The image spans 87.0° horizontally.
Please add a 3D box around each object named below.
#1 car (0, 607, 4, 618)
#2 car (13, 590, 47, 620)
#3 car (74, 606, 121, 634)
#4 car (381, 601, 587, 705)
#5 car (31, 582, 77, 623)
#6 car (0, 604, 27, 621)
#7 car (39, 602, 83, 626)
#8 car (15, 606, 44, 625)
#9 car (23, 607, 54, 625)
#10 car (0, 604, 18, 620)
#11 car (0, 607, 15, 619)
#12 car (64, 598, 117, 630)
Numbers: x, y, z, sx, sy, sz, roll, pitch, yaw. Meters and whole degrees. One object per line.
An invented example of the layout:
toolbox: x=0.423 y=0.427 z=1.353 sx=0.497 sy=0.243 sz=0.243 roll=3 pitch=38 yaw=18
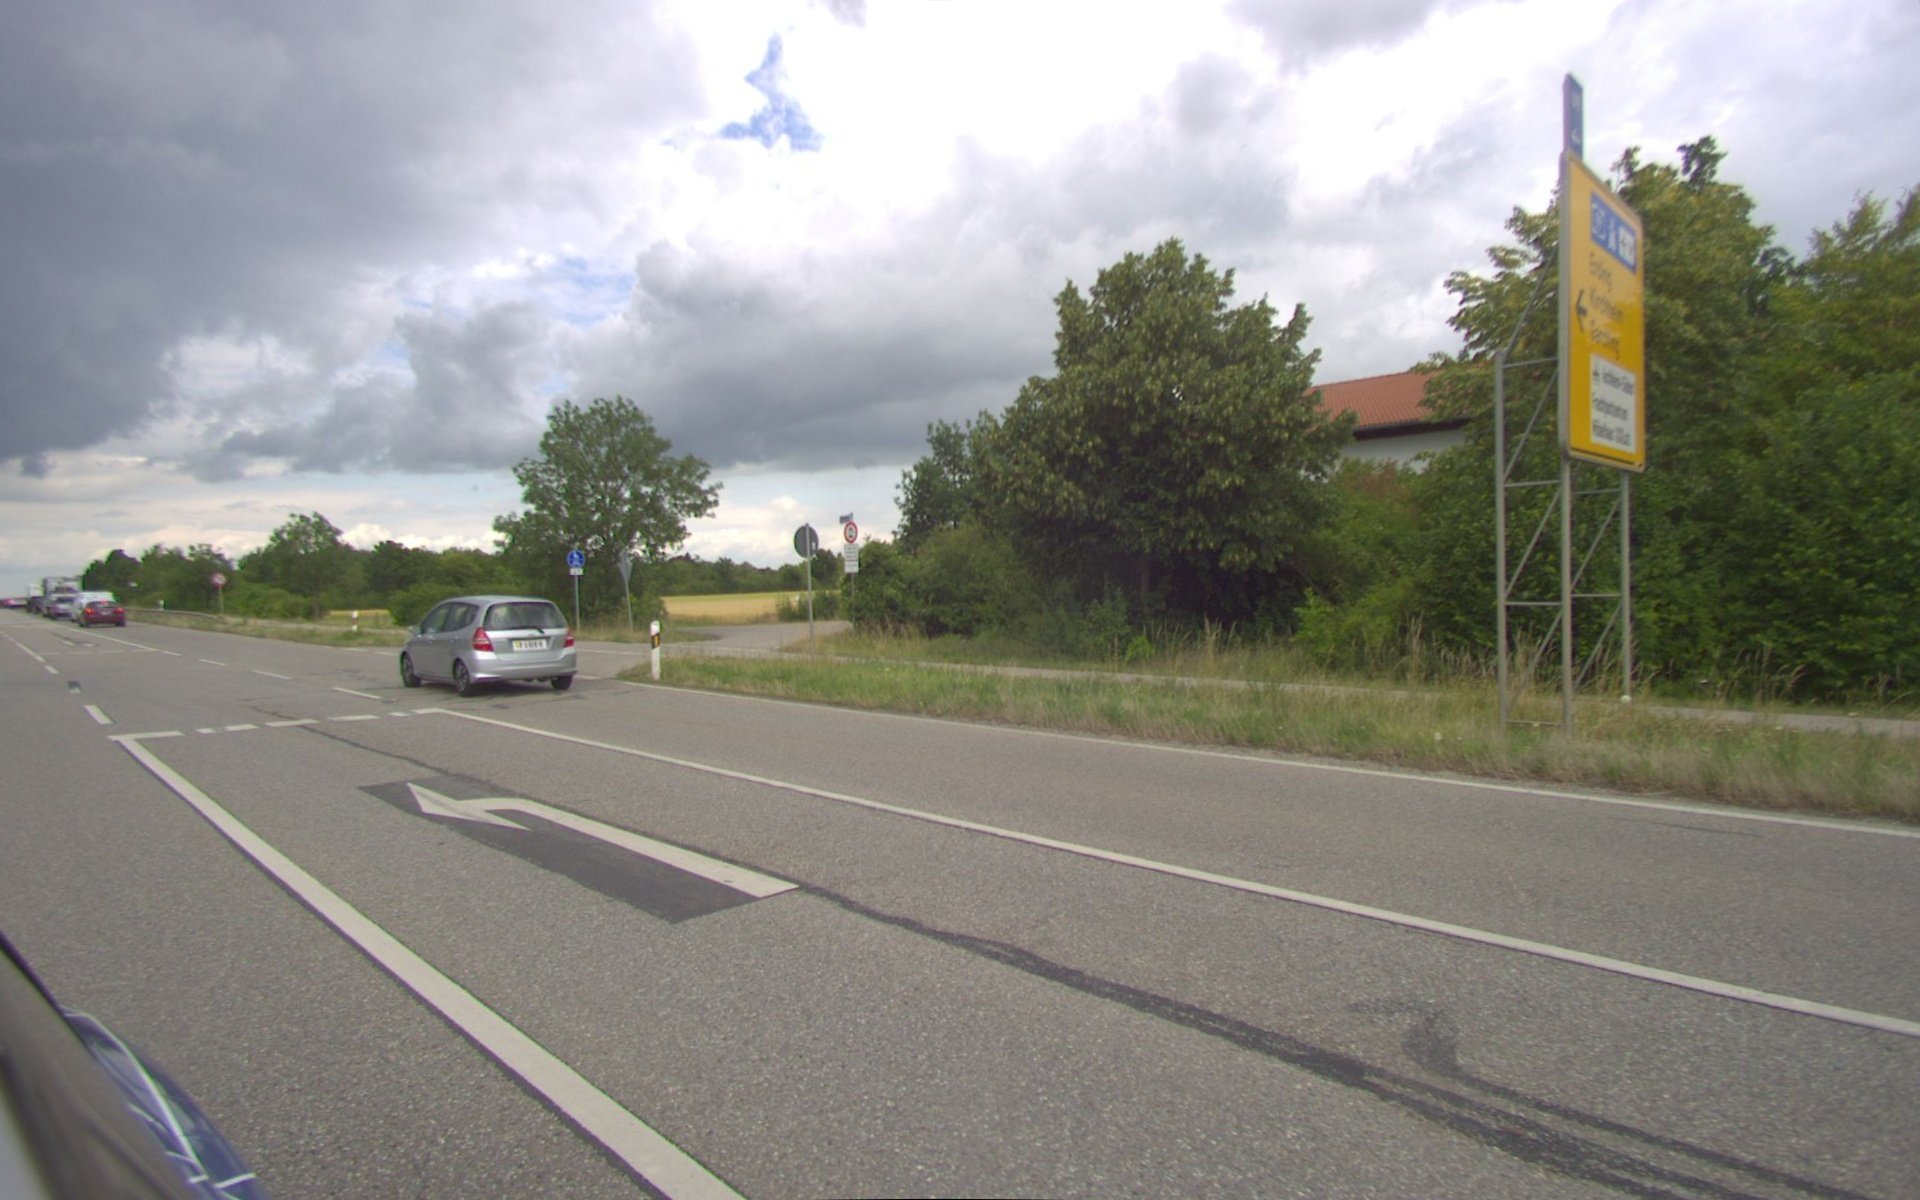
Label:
car: x=-157.642 y=2.106 z=165.365 sx=1.831 sy=1.763 sz=4.002 roll=-3 pitch=1 yaw=-45
car: x=-100.907 y=0.569 z=109.764 sx=6.560 sy=3.051 sz=2.307 roll=-2 pitch=1 yaw=44
car: x=-46.440 y=1.056 z=54.467 sx=1.653 sy=1.412 sz=4.091 roll=-1 pitch=0 yaw=-45
car: x=-7.712 y=0.772 z=16.236 sx=3.936 sy=1.442 sz=1.710 roll=-1 pitch=0 yaw=44
car: x=-71.603 y=0.265 z=79.927 sx=6.561 sy=3.052 sz=2.307 roll=-2 pitch=-2 yaw=45
car: x=-115.783 y=1.538 z=123.668 sx=4.878 sy=1.936 sz=2.307 roll=-2 pitch=1 yaw=45
car: x=-63.139 y=1.003 z=71.057 sx=4.262 sy=1.636 sz=1.971 roll=-2 pitch=-2 yaw=44
car: x=-92.256 y=1.511 z=100.348 sx=4.002 sy=1.763 sz=1.831 roll=-1 pitch=1 yaw=44
car: x=-84.929 y=1.483 z=93.267 sx=4.002 sy=1.536 sz=1.822 roll=-2 pitch=1 yaw=45
car: x=-129.024 y=1.613 z=137.160 sx=4.001 sy=2.028 sz=1.772 roll=-1 pitch=1 yaw=44
car: x=-140.683 y=1.925 z=149.202 sx=1.831 sy=1.763 sz=4.002 roll=-3 pitch=1 yaw=-45
car: x=-55.427 y=0.873 z=64.460 sx=5.393 sy=1.900 sz=2.082 roll=-1 pitch=0 yaw=45
